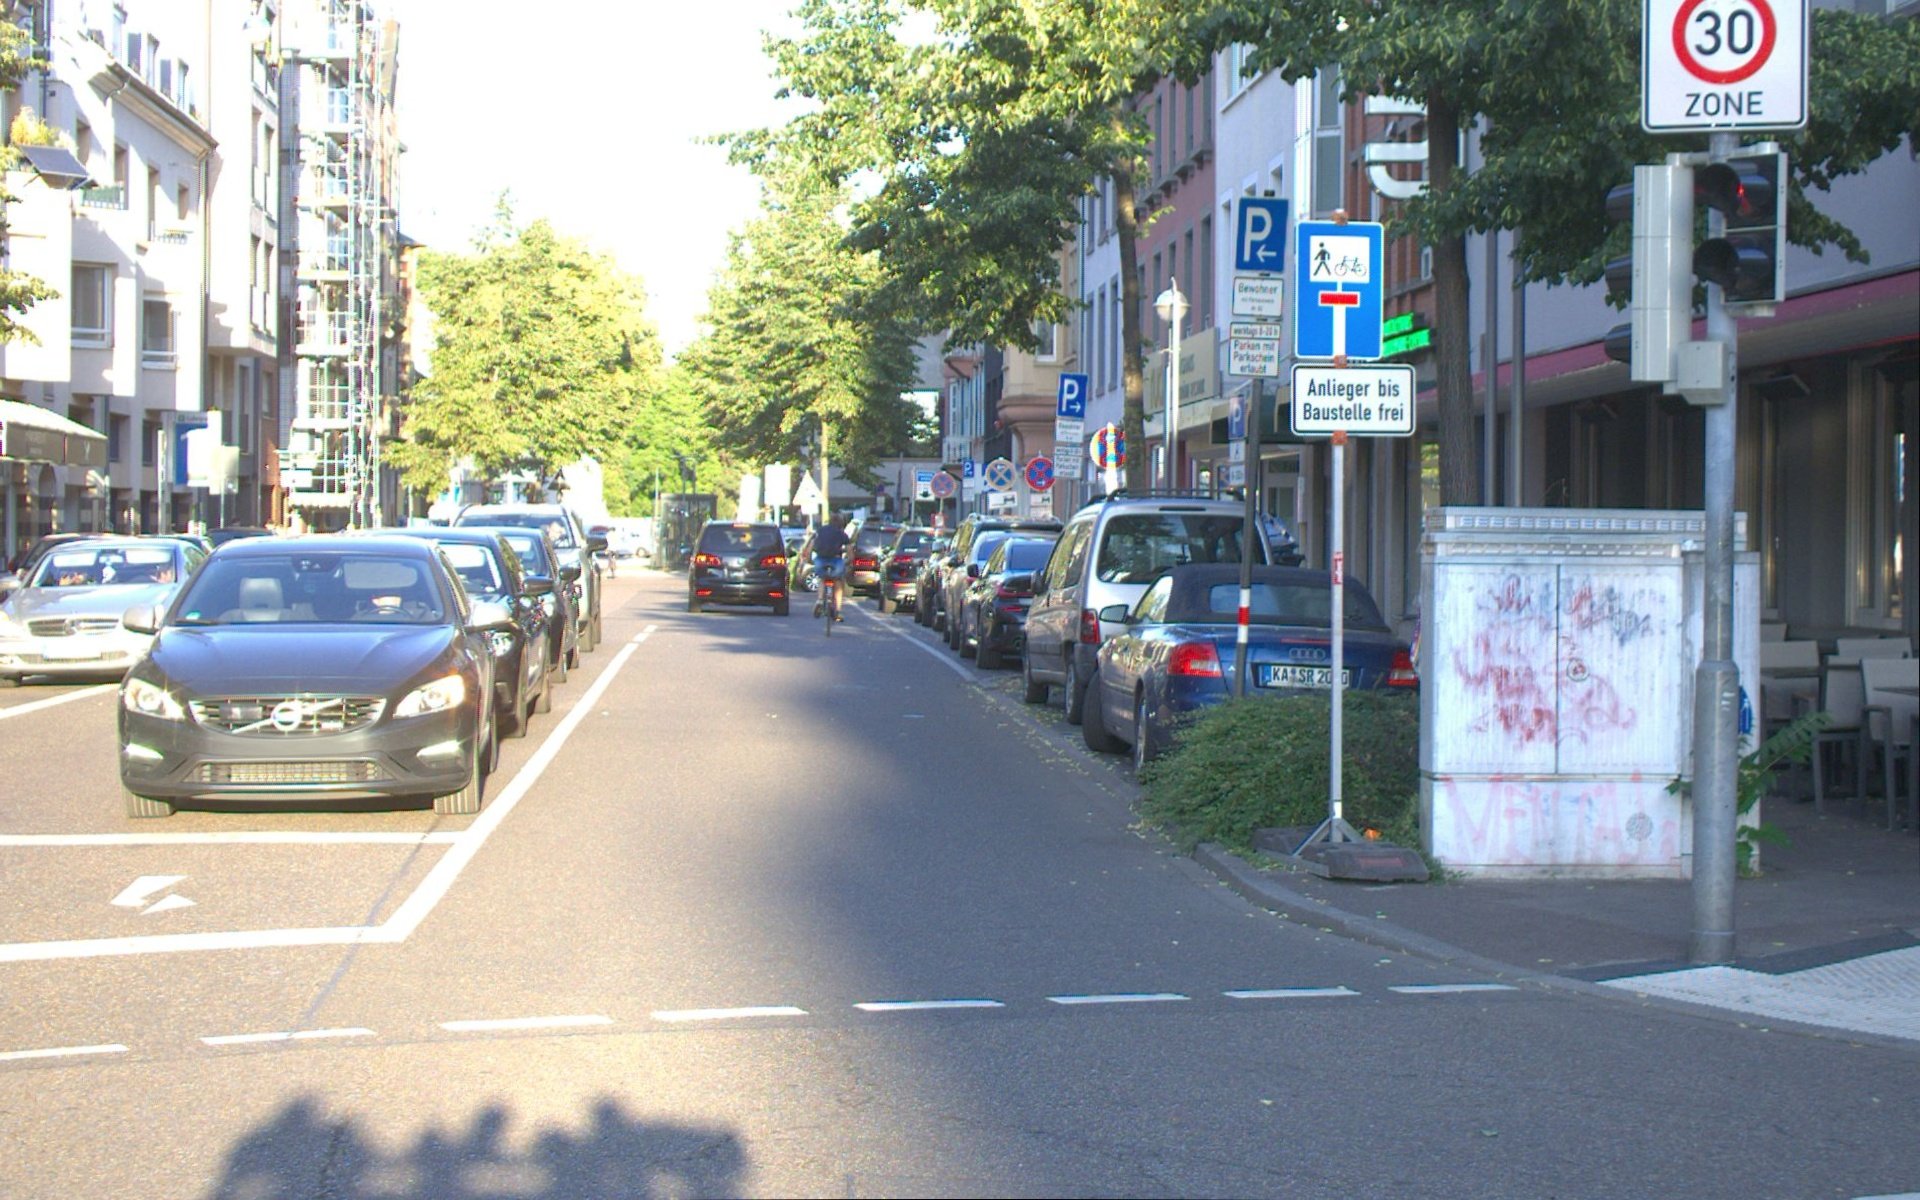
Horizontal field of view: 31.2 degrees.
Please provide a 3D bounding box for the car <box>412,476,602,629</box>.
[{"bbox_3d":[-5.123,-0.520,39.420,1.940,1.639,4.739,0,0,-5],"label":"car"}]

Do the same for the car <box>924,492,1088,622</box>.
[{"bbox_3d":[0.615,-0.607,50.331,1.883,1.748,5.059,2,0,-4],"label":"car"}]

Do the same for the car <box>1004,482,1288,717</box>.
[{"bbox_3d":[1.469,-0.044,28.607,1.654,1.772,4.013,2,1,-7],"label":"car"}]

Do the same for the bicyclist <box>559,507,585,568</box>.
[{"bbox_3d":[-11.750,-1.885,104.071,0.780,1.823,1.007,0,0,-6],"label":"bicyclist"}]

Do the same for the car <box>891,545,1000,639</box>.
[{"bbox_3d":[-0.303,-0.153,65.394,1.811,1.662,4.206,2,0,-3],"label":"car"}]

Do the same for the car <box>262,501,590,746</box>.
[{"bbox_3d":[-3.838,0.150,25.436,1.946,1.639,4.616,0,0,-3],"label":"car"}]

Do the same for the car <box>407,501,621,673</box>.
[{"bbox_3d":[-4.248,-0.125,33.278,1.723,1.544,4.465,0,0,-3],"label":"car"}]

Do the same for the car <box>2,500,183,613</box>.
[{"bbox_3d":[-11.613,-0.563,46.211,1.660,1.398,3.884,2,0,-4],"label":"car"}]

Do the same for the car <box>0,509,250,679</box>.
[{"bbox_3d":[-8.336,-0.055,33.789,1.993,1.506,4.510,-2,0,-4],"label":"car"}]

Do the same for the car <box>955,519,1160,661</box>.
[{"bbox_3d":[1.004,-0.141,37.871,1.752,1.415,4.510,2,1,-4],"label":"car"}]

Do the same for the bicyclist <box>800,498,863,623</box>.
[{"bbox_3d":[-1.766,-0.543,47.115,0.780,1.690,1.007,0,0,-6],"label":"bicyclist"}]

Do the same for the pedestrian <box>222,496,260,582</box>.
[{"bbox_3d":[-15.086,-1.278,72.151,0.716,1.761,0.694,2,0,-11],"label":"pedestrian"}]

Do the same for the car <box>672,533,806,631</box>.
[{"bbox_3d":[-3.857,-0.306,60.735,1.993,1.596,4.509,2,0,0],"label":"car"}]

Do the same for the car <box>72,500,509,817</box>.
[{"bbox_3d":[-3.558,0.229,19.030,1.957,1.542,4.511,0,2,-6],"label":"car"}]

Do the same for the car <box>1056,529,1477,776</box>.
[{"bbox_3d":[1.852,0.279,22.133,1.936,1.372,4.183,2,1,-5],"label":"car"}]

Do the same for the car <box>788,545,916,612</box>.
[{"bbox_3d":[-2.655,-0.535,84.402,2.968,1.531,1.434,2,0,-7],"label":"car"}]

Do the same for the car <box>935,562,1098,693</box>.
[{"bbox_3d":[0.661,0.327,44.051,1.812,1.522,4.994,2,0,-2],"label":"car"}]

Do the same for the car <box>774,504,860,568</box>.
[{"bbox_3d":[-4.674,-2.049,111.828,2.264,1.760,4.510,7,-1,-7],"label":"car"}]

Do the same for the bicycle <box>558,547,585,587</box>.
[{"bbox_3d":[-11.746,-0.996,104.056,0.780,1.200,2.021,0,0,-6],"label":"bicycle"}]

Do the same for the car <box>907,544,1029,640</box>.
[{"bbox_3d":[0.096,-0.133,57.402,1.762,1.478,4.307,2,0,-3],"label":"car"}]

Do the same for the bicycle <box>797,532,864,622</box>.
[{"bbox_3d":[-1.783,-0.312,47.124,0.780,1.200,2.021,0,0,-6],"label":"bicycle"}]

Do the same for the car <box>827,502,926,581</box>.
[{"bbox_3d":[-1.931,-1.317,78.619,1.824,1.689,4.369,2,0,-7],"label":"car"}]
